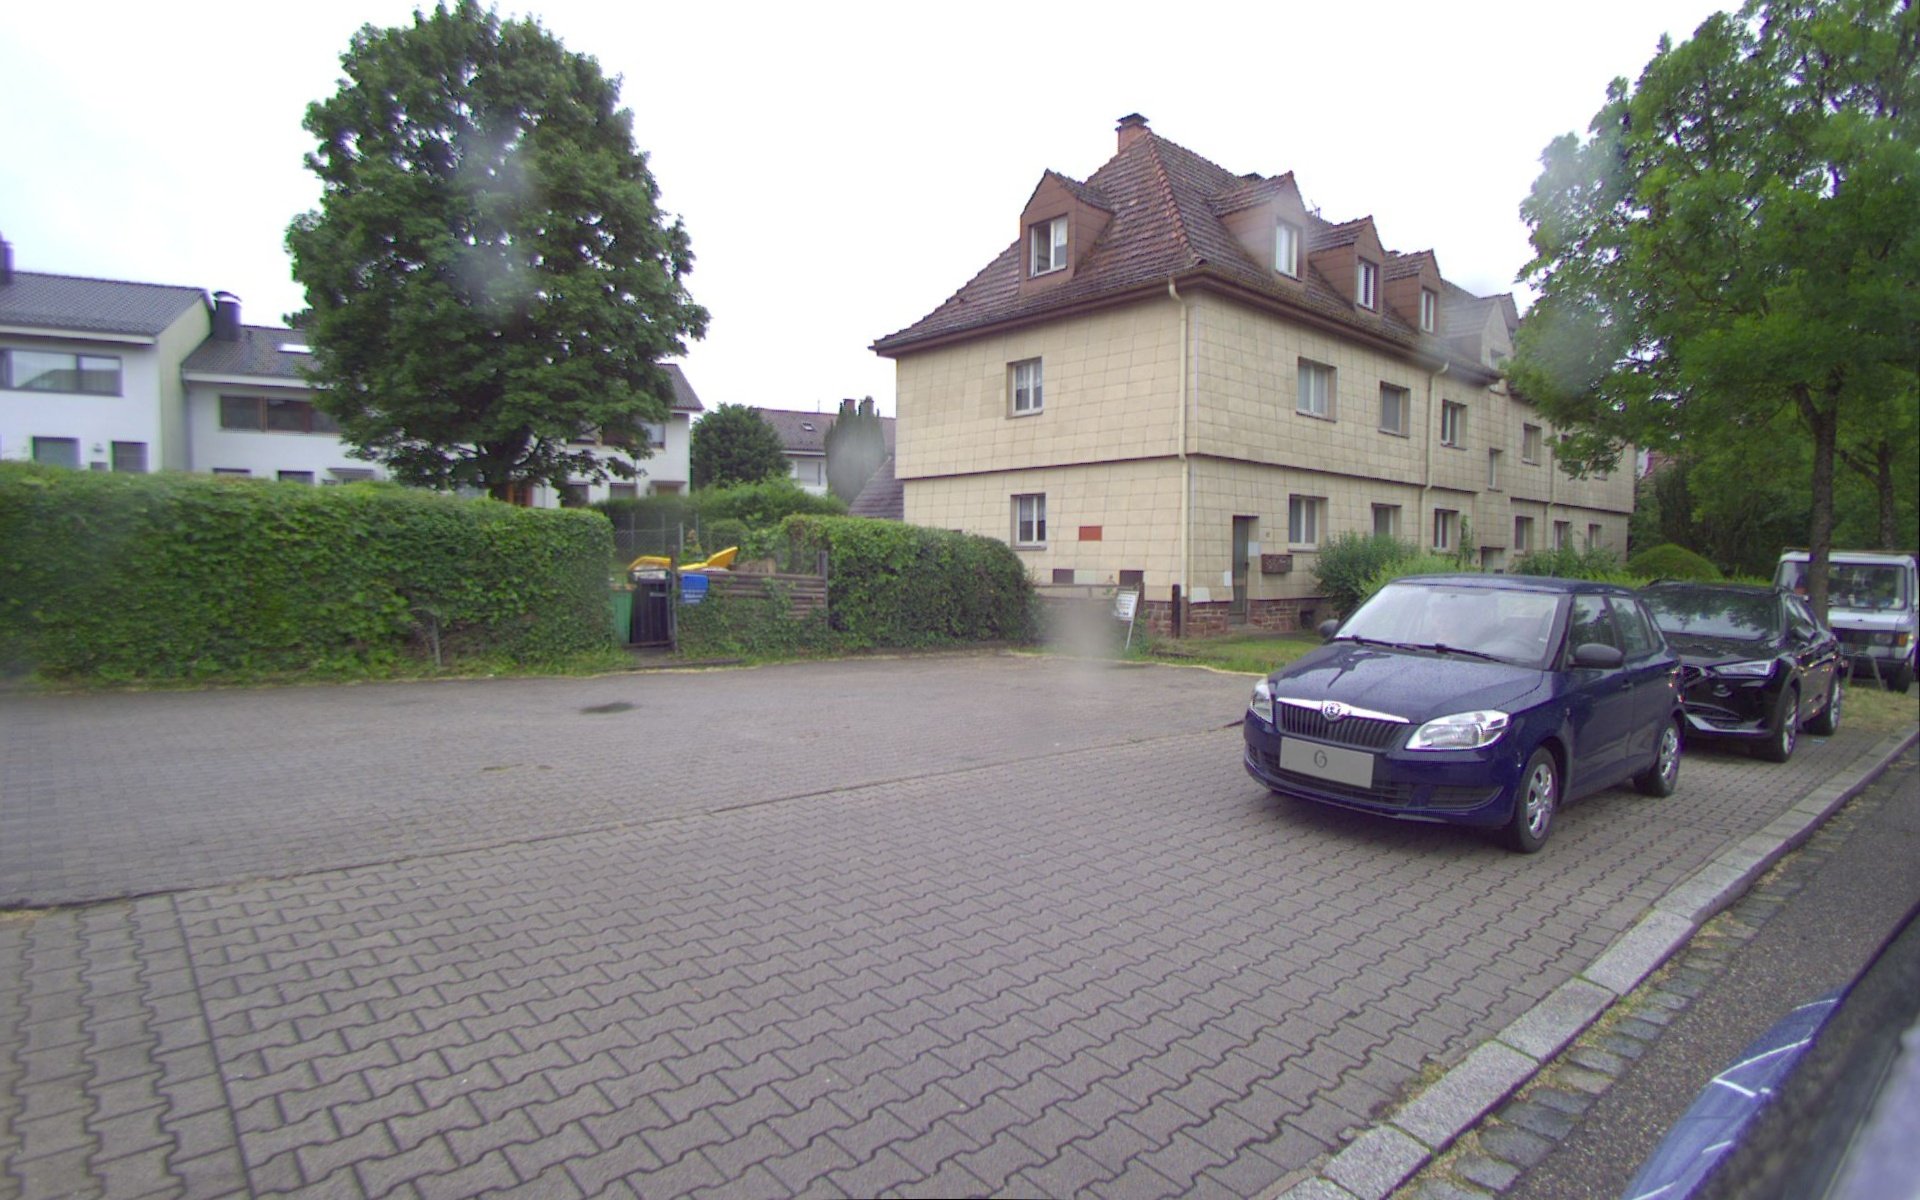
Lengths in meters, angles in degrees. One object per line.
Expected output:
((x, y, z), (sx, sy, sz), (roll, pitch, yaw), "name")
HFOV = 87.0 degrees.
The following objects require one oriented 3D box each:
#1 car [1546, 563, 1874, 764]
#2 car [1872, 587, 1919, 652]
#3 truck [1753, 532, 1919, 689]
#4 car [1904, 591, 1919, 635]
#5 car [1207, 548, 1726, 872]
((7.528, 0.482, 10.014), (4.111, 1.516, 1.718), (0, 4, -42), "car")
((24.026, 0.560, 25.078), (3.951, 1.454, 1.605), (3, 3, -42), "car")
((15.892, 0.107, 17.716), (6.392, 2.248, 2.084), (0, 4, -43), "truck")
((33.531, 0.470, 34.458), (4.424, 1.406, 1.691), (0, 4, -43), "car")
((3.436, 0.490, 6.564), (3.788, 1.490, 1.608), (0, 3, -40), "car")
